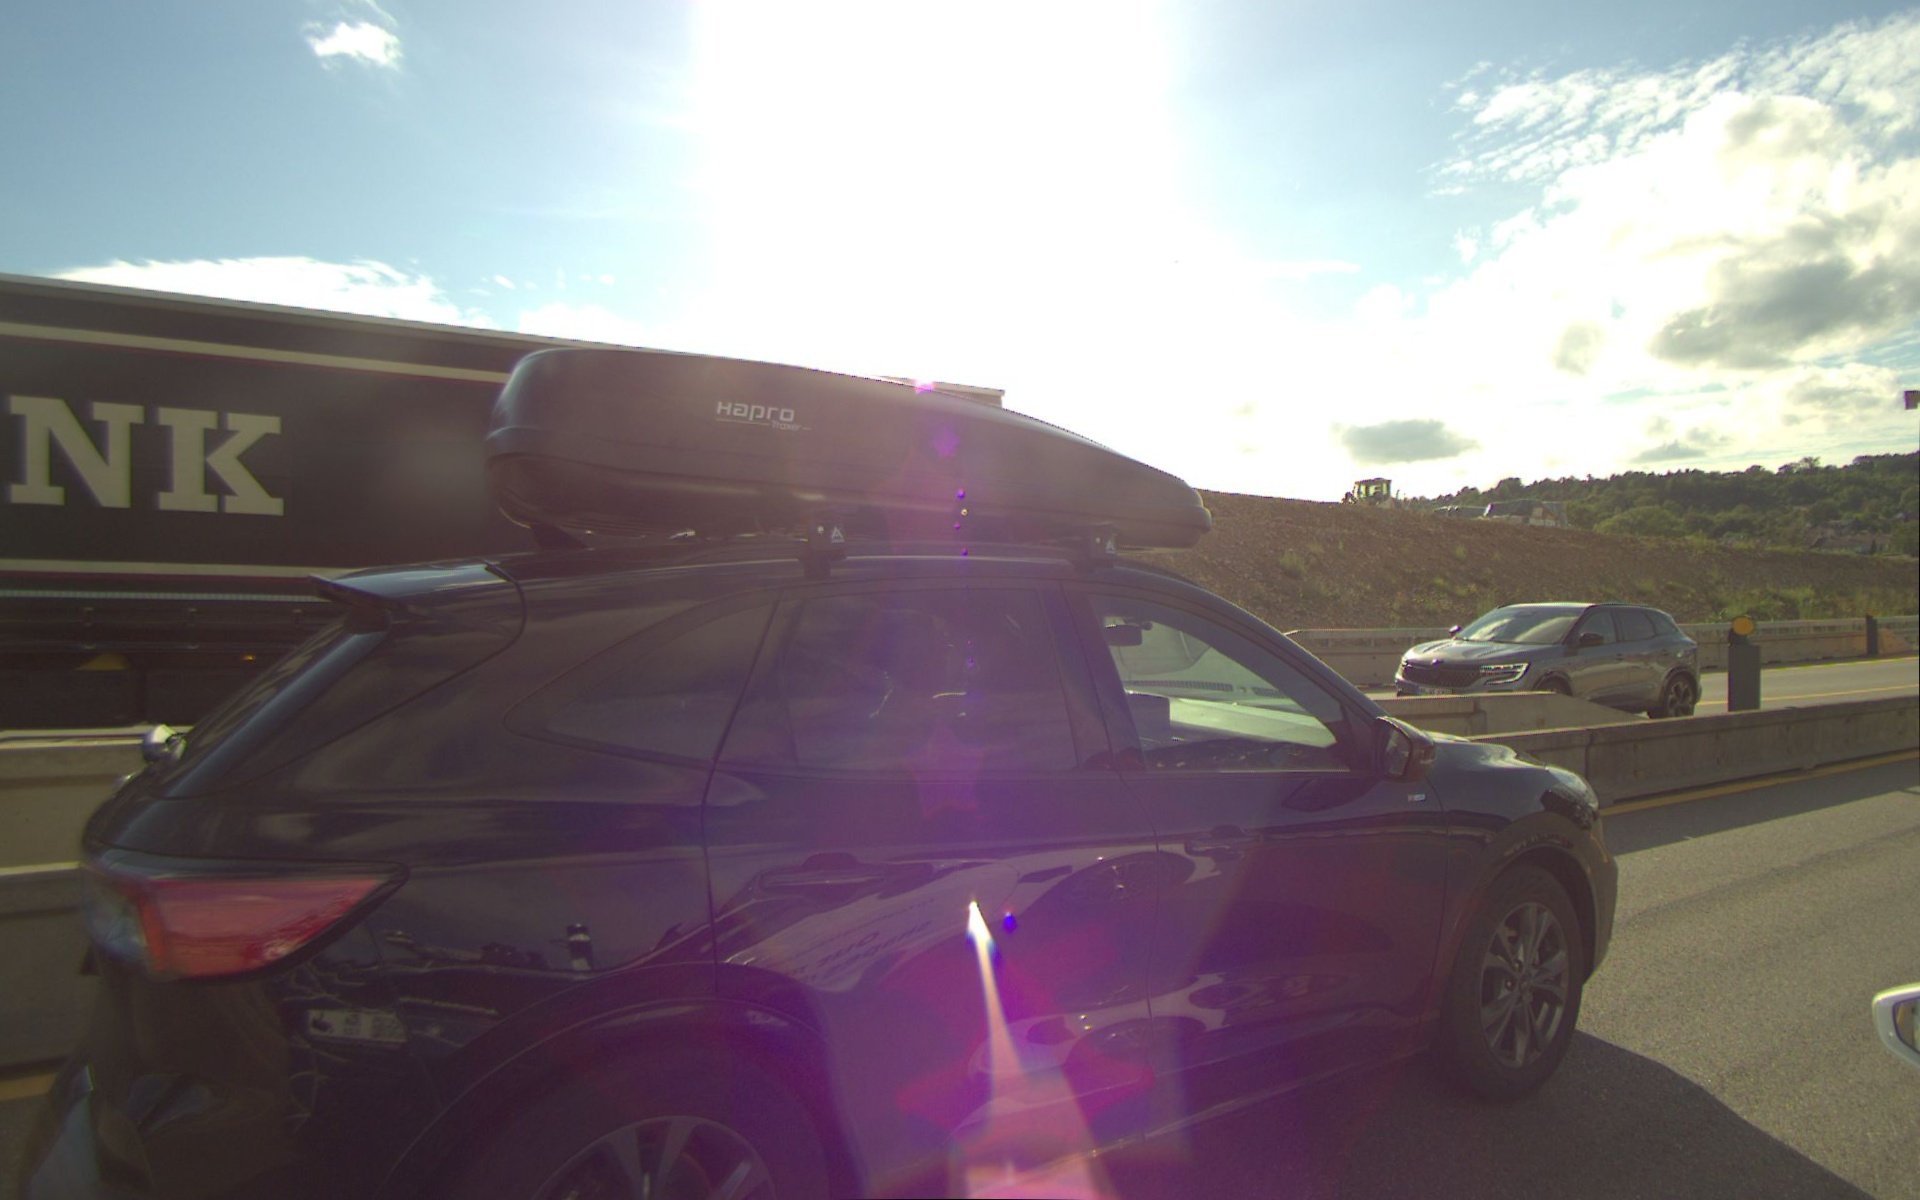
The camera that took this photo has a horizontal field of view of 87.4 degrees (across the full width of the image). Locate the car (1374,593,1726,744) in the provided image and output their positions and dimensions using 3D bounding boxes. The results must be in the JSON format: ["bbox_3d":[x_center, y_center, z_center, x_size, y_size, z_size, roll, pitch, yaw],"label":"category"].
[{"bbox_3d":[7.566,0.801,12.864,4.179,1.670,1.839,2,0,-25],"label":"car"}]

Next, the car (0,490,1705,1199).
[{"bbox_3d":[0.146,0.706,3.000,4.333,1.563,1.791,2,0,-31],"label":"car"}]

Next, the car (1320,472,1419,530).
[{"bbox_3d":[21.130,-5.034,51.792,5.262,2.167,1.984,3,-6,-31],"label":"car"}]

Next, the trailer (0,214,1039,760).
[{"bbox_3d":[-5.951,-0.901,10.699,13.617,4.482,2.970,1,1,-23],"label":"trailer"}]
